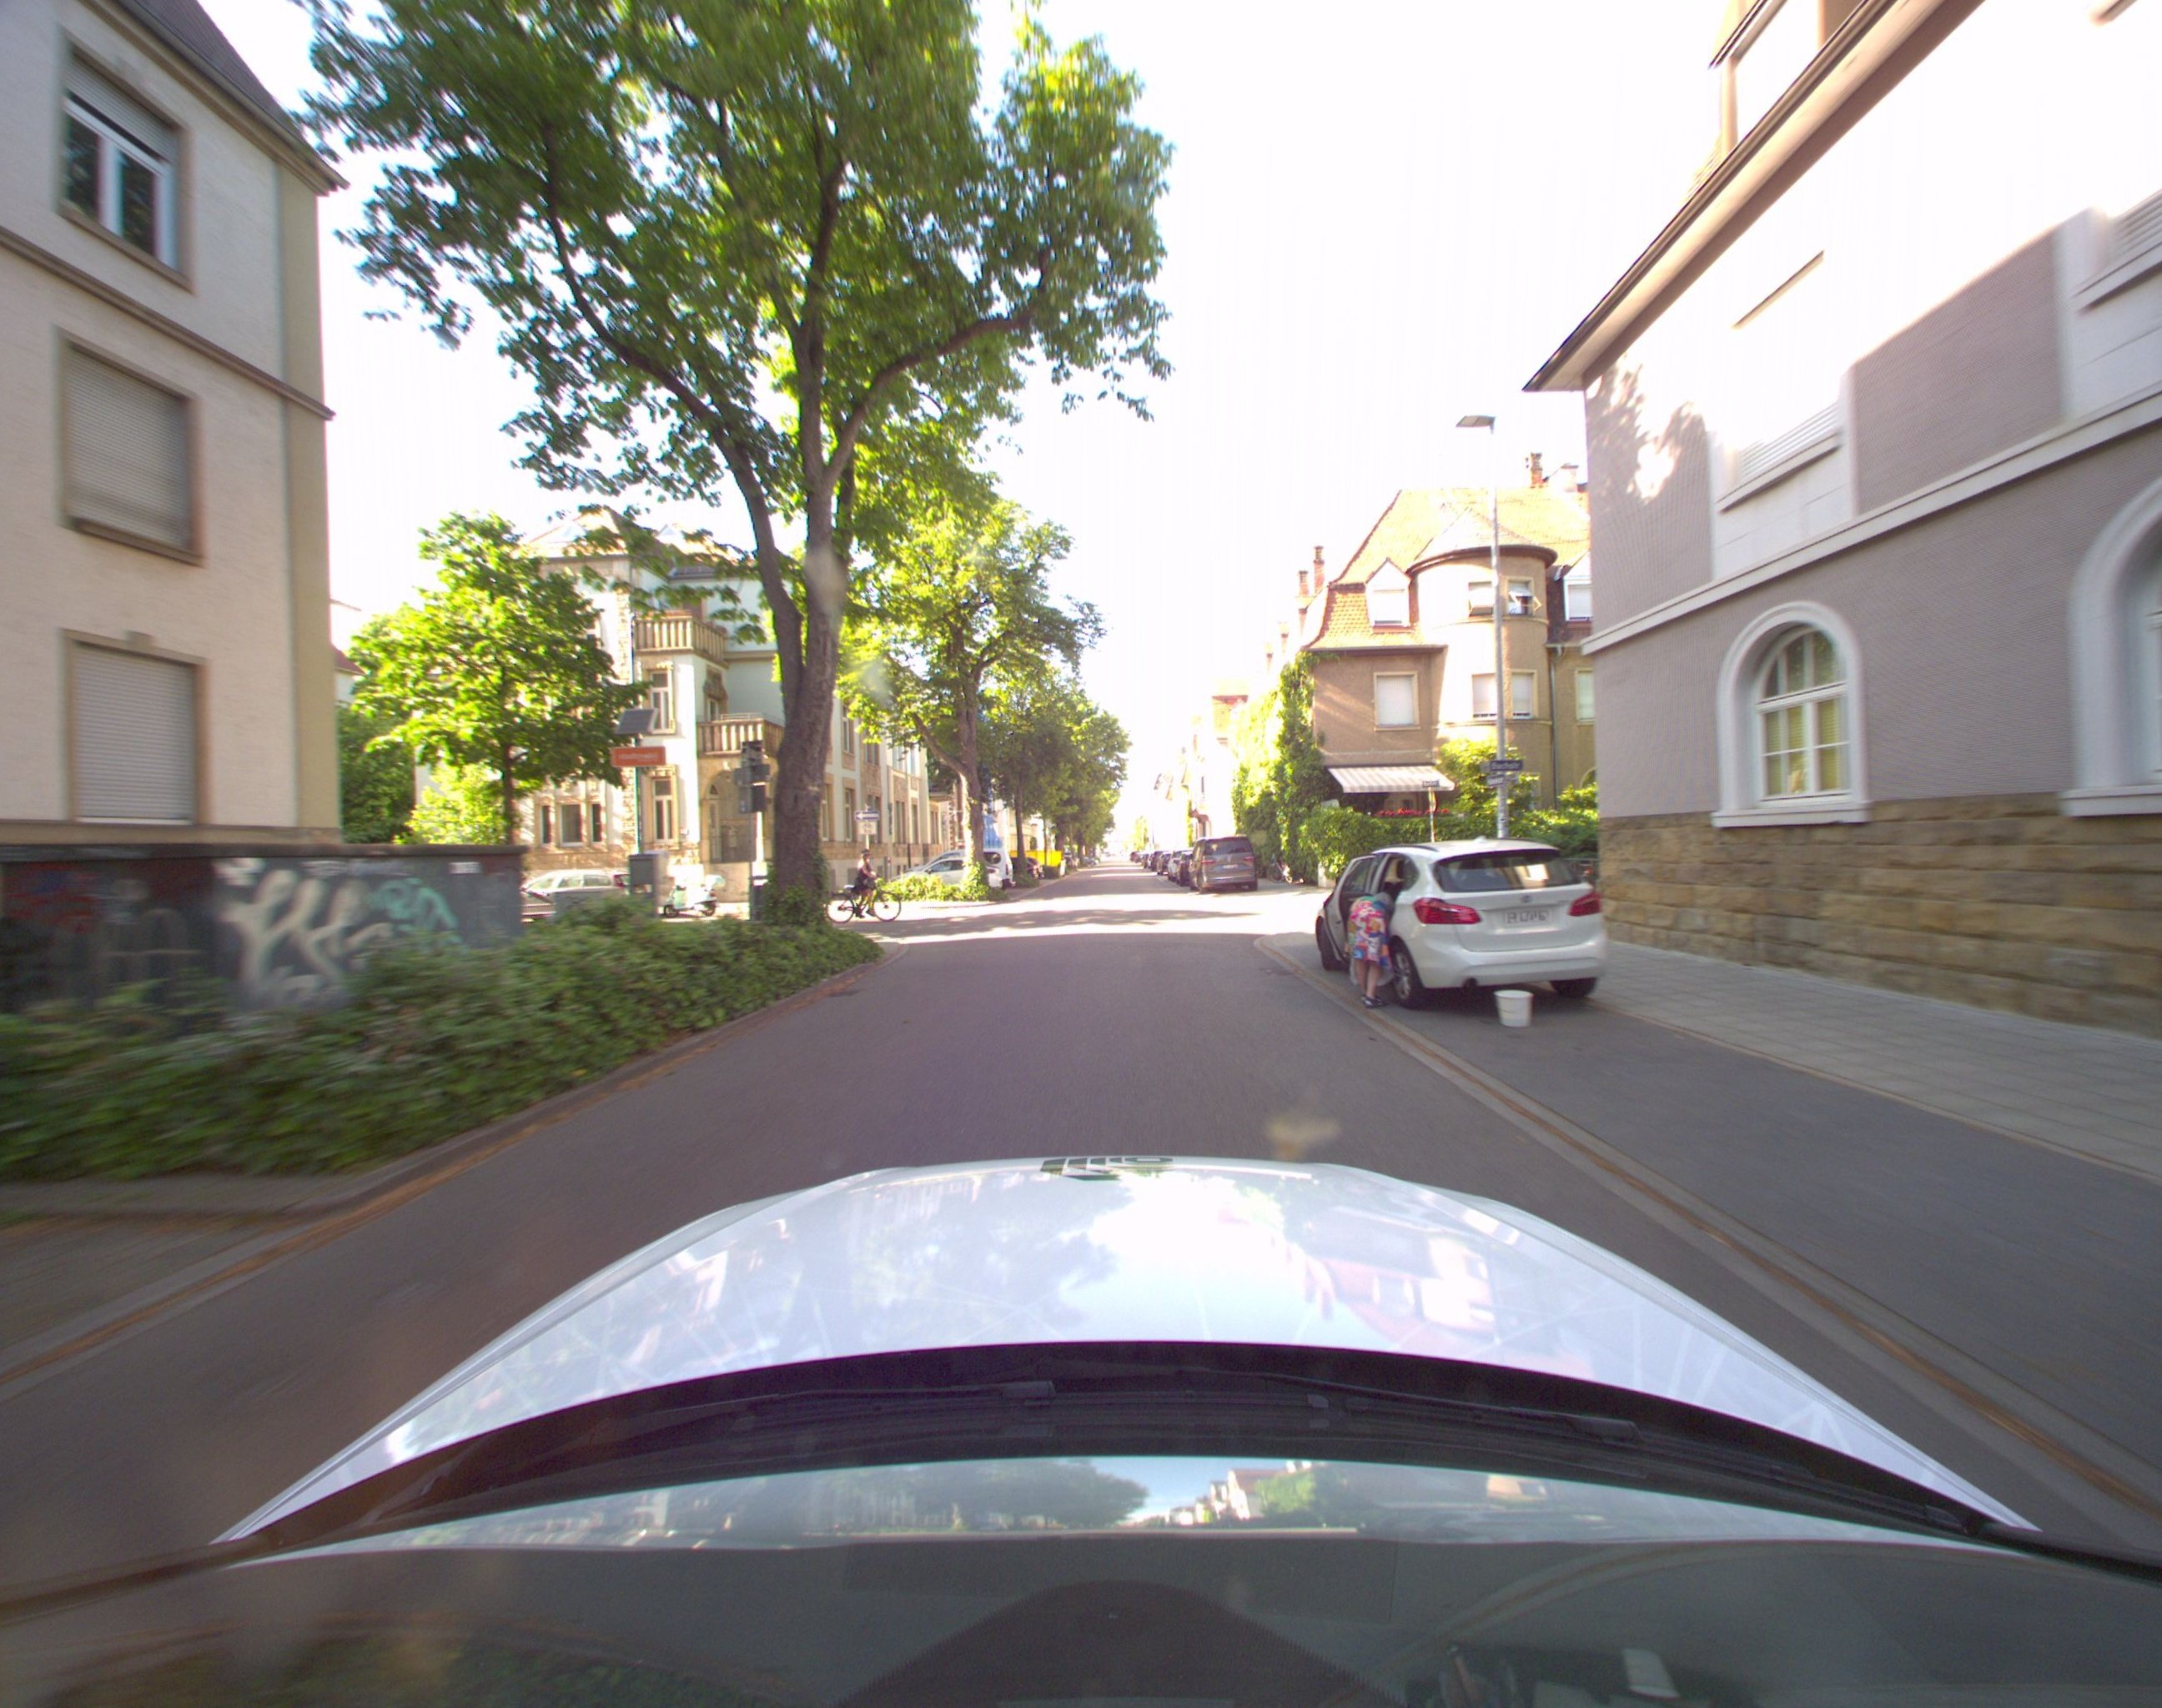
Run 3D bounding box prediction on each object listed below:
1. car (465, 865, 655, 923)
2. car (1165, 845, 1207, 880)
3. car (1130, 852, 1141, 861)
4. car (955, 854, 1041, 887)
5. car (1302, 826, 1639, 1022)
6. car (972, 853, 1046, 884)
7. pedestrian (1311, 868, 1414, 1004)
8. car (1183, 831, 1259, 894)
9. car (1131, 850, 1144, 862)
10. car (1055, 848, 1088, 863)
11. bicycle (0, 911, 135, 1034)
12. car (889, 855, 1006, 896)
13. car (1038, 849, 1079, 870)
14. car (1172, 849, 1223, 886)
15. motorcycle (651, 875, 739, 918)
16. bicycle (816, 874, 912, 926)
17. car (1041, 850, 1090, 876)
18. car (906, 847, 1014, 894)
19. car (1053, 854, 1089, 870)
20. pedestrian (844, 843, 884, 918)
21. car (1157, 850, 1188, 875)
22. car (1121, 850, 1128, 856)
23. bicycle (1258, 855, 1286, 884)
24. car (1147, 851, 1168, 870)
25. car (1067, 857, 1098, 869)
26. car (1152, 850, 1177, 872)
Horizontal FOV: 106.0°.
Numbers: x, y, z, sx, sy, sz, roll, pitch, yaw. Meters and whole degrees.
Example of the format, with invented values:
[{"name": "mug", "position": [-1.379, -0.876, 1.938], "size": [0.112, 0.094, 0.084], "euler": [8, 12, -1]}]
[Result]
[{"name": "car", "position": [-15.135, 1.137, 23.794], "size": [4.388, 1.465, 1.803], "euler": [-2, 0, 3]}, {"name": "car", "position": [5.226, 0.399, 40.768], "size": [1.782, 1.618, 3.870], "euler": [-2, 0, 3]}, {"name": "car", "position": [9.773, 0.412, 146.000], "size": [1.763, 1.631, 3.870], "euler": [-2, 0, 3]}, {"name": "car", "position": [-4.113, 0.829, 40.934], "size": [3.969, 1.469, 1.866], "euler": [-2, 1, 4]}, {"name": "car", "position": [3.876, 0.594, 9.003], "size": [1.694, 1.539, 4.155], "euler": [-4, 0, 1]}, {"name": "car", "position": [-4.034, 0.801, 45.690], "size": [3.982, 1.552, 1.833], "euler": [-2, 0, -6]}, {"name": "pedestrian", "position": [2.797, 0.795, 8.149], "size": [0.722, 1.257, 0.645], "euler": [-3, 0, -5]}, {"name": "car", "position": [4.774, 0.262, 28.371], "size": [1.897, 1.870, 4.676], "euler": [-5, 0, 2]}, {"name": "car", "position": [8.191, 0.215, 117.574], "size": [1.763, 1.631, 3.870], "euler": [-2, 0, 3]}, {"name": "car", "position": [-1.182, 0.187, 103.190], "size": [3.988, 1.841, 2.003], "euler": [0, 1, 4]}, {"name": "bicycle", "position": [-10.731, 1.191, 8.087], "size": [0.625, 1.097, 1.699], "euler": [-2, 0, 2]}, {"name": "car", "position": [-4.812, 0.776, 29.703], "size": [3.976, 1.464, 1.797], "euler": [0, -1, -2]}, {"name": "car", "position": [-2.334, 0.562, 82.647], "size": [3.982, 2.013, 1.996], "euler": [-2, 0, -6]}, {"name": "car", "position": [4.972, 0.540, 35.060], "size": [1.684, 1.398, 3.807], "euler": [-5, 0, 2]}, {"name": "motorcycle", "position": [-11.317, 1.250, 23.896], "size": [2.198, 1.176, 0.901], "euler": [-2, -2, 10]}, {"name": "bicycle", "position": [-5.095, 1.073, 19.210], "size": [1.981, 1.066, 0.761], "euler": [-3, 1, 5]}, {"name": "car", "position": [-1.338, 0.773, 69.848], "size": [3.982, 2.014, 1.996], "euler": [-2, -1, -6]}, {"name": "car", "position": [-4.667, 0.625, 31.919], "size": [3.976, 1.761, 1.797], "euler": [0, -1, -2]}, {"name": "car", "position": [-1.095, 0.890, 93.985], "size": [3.988, 1.734, 1.897], "euler": [0, 1, 4]}, {"name": "pedestrian", "position": [-5.108, 0.606, 19.208], "size": [0.627, 1.694, 0.653], "euler": [-3, 0, 6]}, {"name": "car", "position": [5.807, 0.512, 52.146], "size": [1.763, 1.455, 3.870], "euler": [-2, 0, 3]}, {"name": "car", "position": [11.455, -0.241, 216.164], "size": [1.763, 1.631, 3.870], "euler": [-2, 0, 3]}, {"name": "bicycle", "position": [7.184, 0.552, 30.734], "size": [0.585, 1.023, 2.371], "euler": [-2, 0, 3]}, {"name": "car", "position": [7.046, 0.547, 75.451], "size": [1.763, 1.631, 3.870], "euler": [-2, 0, 3]}, {"name": "car", "position": [0.229, 1.221, 108.656], "size": [3.964, 1.409, 1.706], "euler": [-2, 0, 8]}, {"name": "car", "position": [6.430, 0.523, 63.039], "size": [1.763, 1.631, 3.870], "euler": [-2, 0, 3]}]
